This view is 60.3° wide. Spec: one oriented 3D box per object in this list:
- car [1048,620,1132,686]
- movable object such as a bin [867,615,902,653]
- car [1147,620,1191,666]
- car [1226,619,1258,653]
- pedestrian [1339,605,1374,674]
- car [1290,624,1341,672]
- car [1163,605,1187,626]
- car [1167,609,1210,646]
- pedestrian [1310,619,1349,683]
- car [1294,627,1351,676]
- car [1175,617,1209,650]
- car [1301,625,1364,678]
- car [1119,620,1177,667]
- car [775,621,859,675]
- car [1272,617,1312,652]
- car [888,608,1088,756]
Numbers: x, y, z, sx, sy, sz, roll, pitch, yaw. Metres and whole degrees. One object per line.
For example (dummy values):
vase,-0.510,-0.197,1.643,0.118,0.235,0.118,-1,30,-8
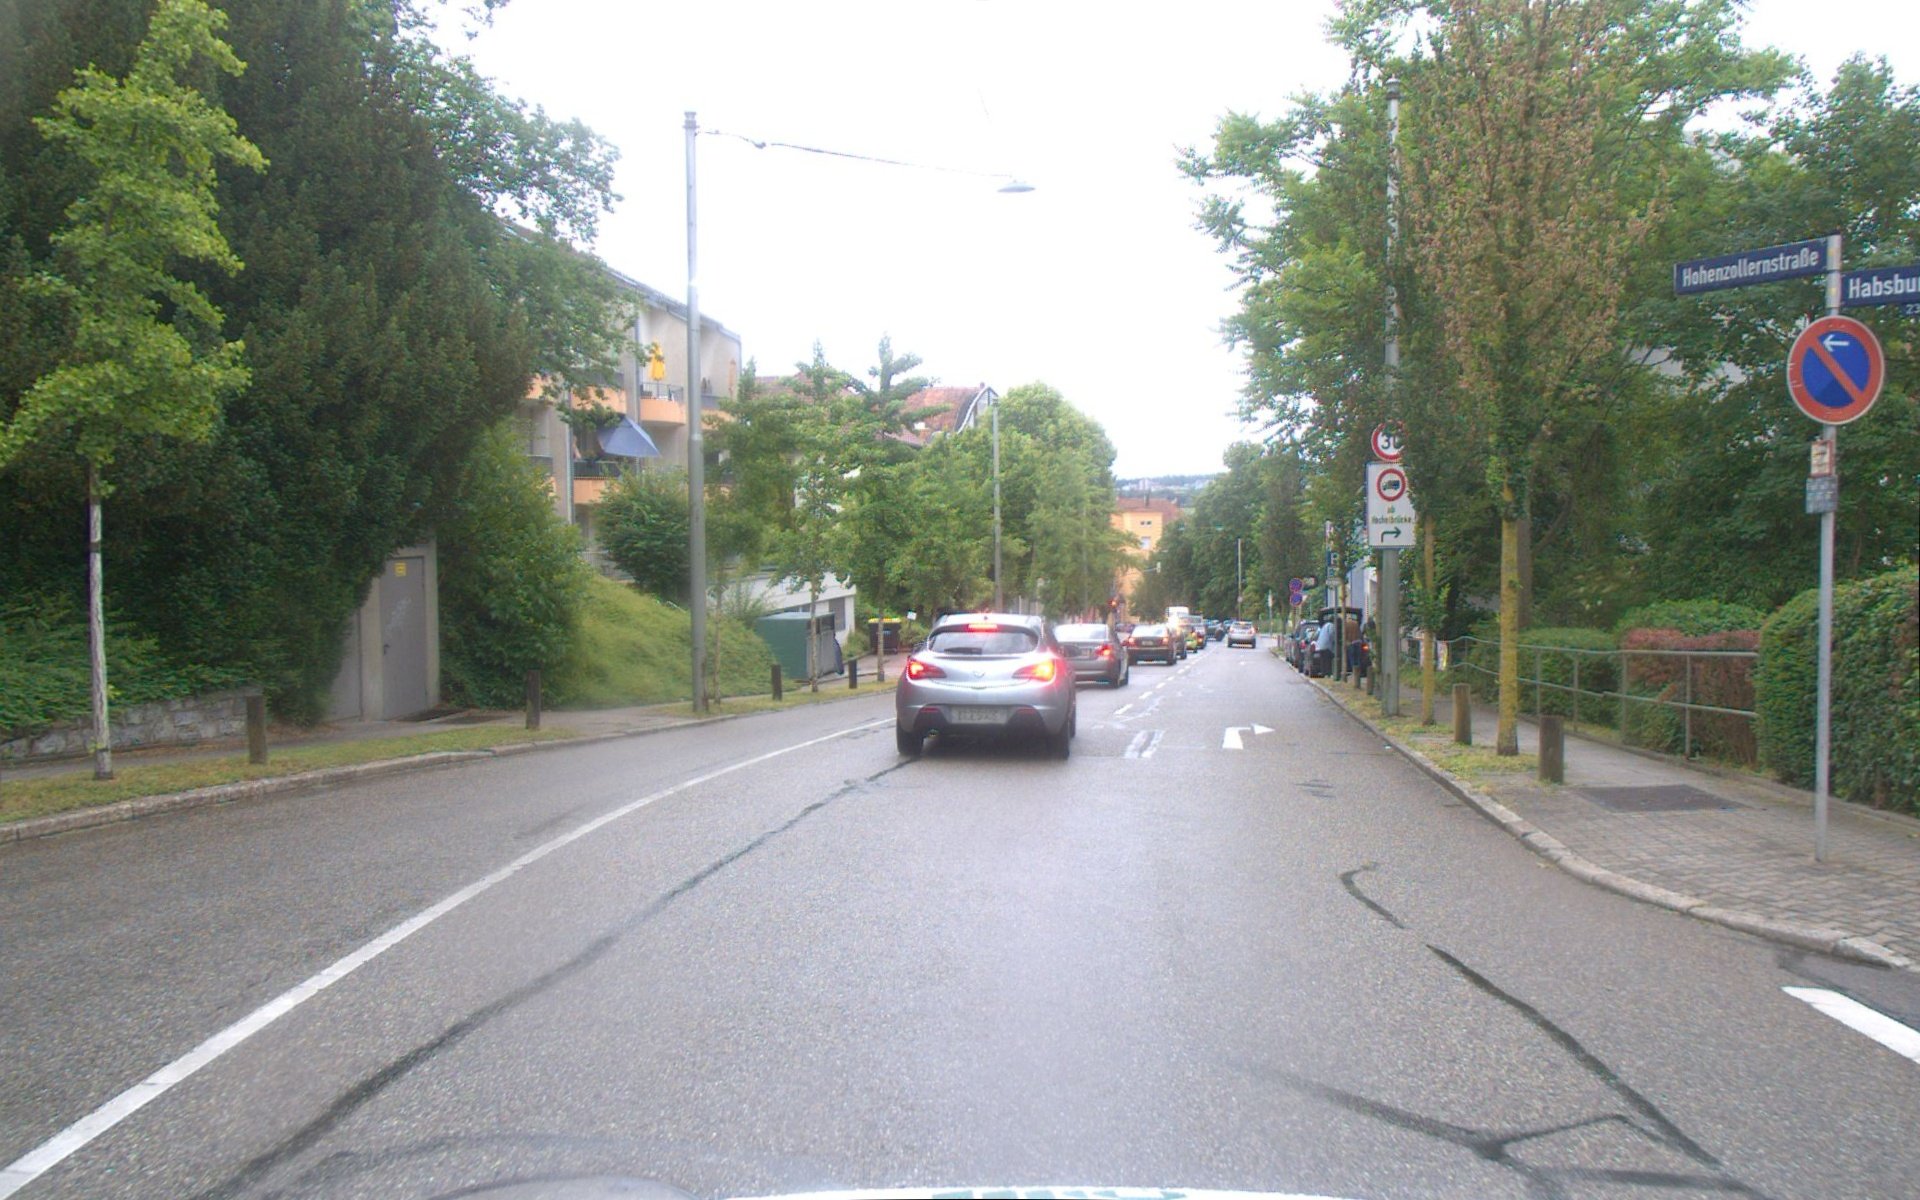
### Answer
car,2.915,1.146,37.120,1.760,1.346,4.002,1,0,5
movable object such as a bin,-2.886,1.294,63.482,1.245,1.411,0.489,1,0,8
car,9.012,1.815,71.084,1.731,1.812,3.979,3,0,8
car,18.446,2.308,108.230,1.951,2.072,4.739,3,0,10
pedestrian,11.070,1.100,46.137,0.675,1.868,0.663,-3,-1,36
car,12.616,1.691,58.833,1.650,1.598,4.003,-1,-1,11
car,20.016,1.444,153.687,1.951,1.816,4.003,3,0,10
car,13.866,1.641,100.124,2.284,2.072,4.739,3,0,10
pedestrian,10.345,1.431,46.306,0.723,1.754,0.762,-2,-1,-16
car,11.841,1.644,54.181,1.645,1.490,4.003,-1,-1,11
car,12.601,1.814,89.834,1.717,1.680,4.003,3,-1,8
car,10.890,1.499,48.528,1.471,1.460,4.003,-1,-2,8
car,6.770,1.542,59.270,1.919,1.498,3.954,3,0,8
car,-4.330,1.453,50.721,1.704,1.482,3.887,-4,-2,7
car,16.252,1.677,81.115,1.866,1.598,4.003,-1,-1,11
car,0.426,0.857,18.302,1.904,1.457,3.886,0,-1,5
